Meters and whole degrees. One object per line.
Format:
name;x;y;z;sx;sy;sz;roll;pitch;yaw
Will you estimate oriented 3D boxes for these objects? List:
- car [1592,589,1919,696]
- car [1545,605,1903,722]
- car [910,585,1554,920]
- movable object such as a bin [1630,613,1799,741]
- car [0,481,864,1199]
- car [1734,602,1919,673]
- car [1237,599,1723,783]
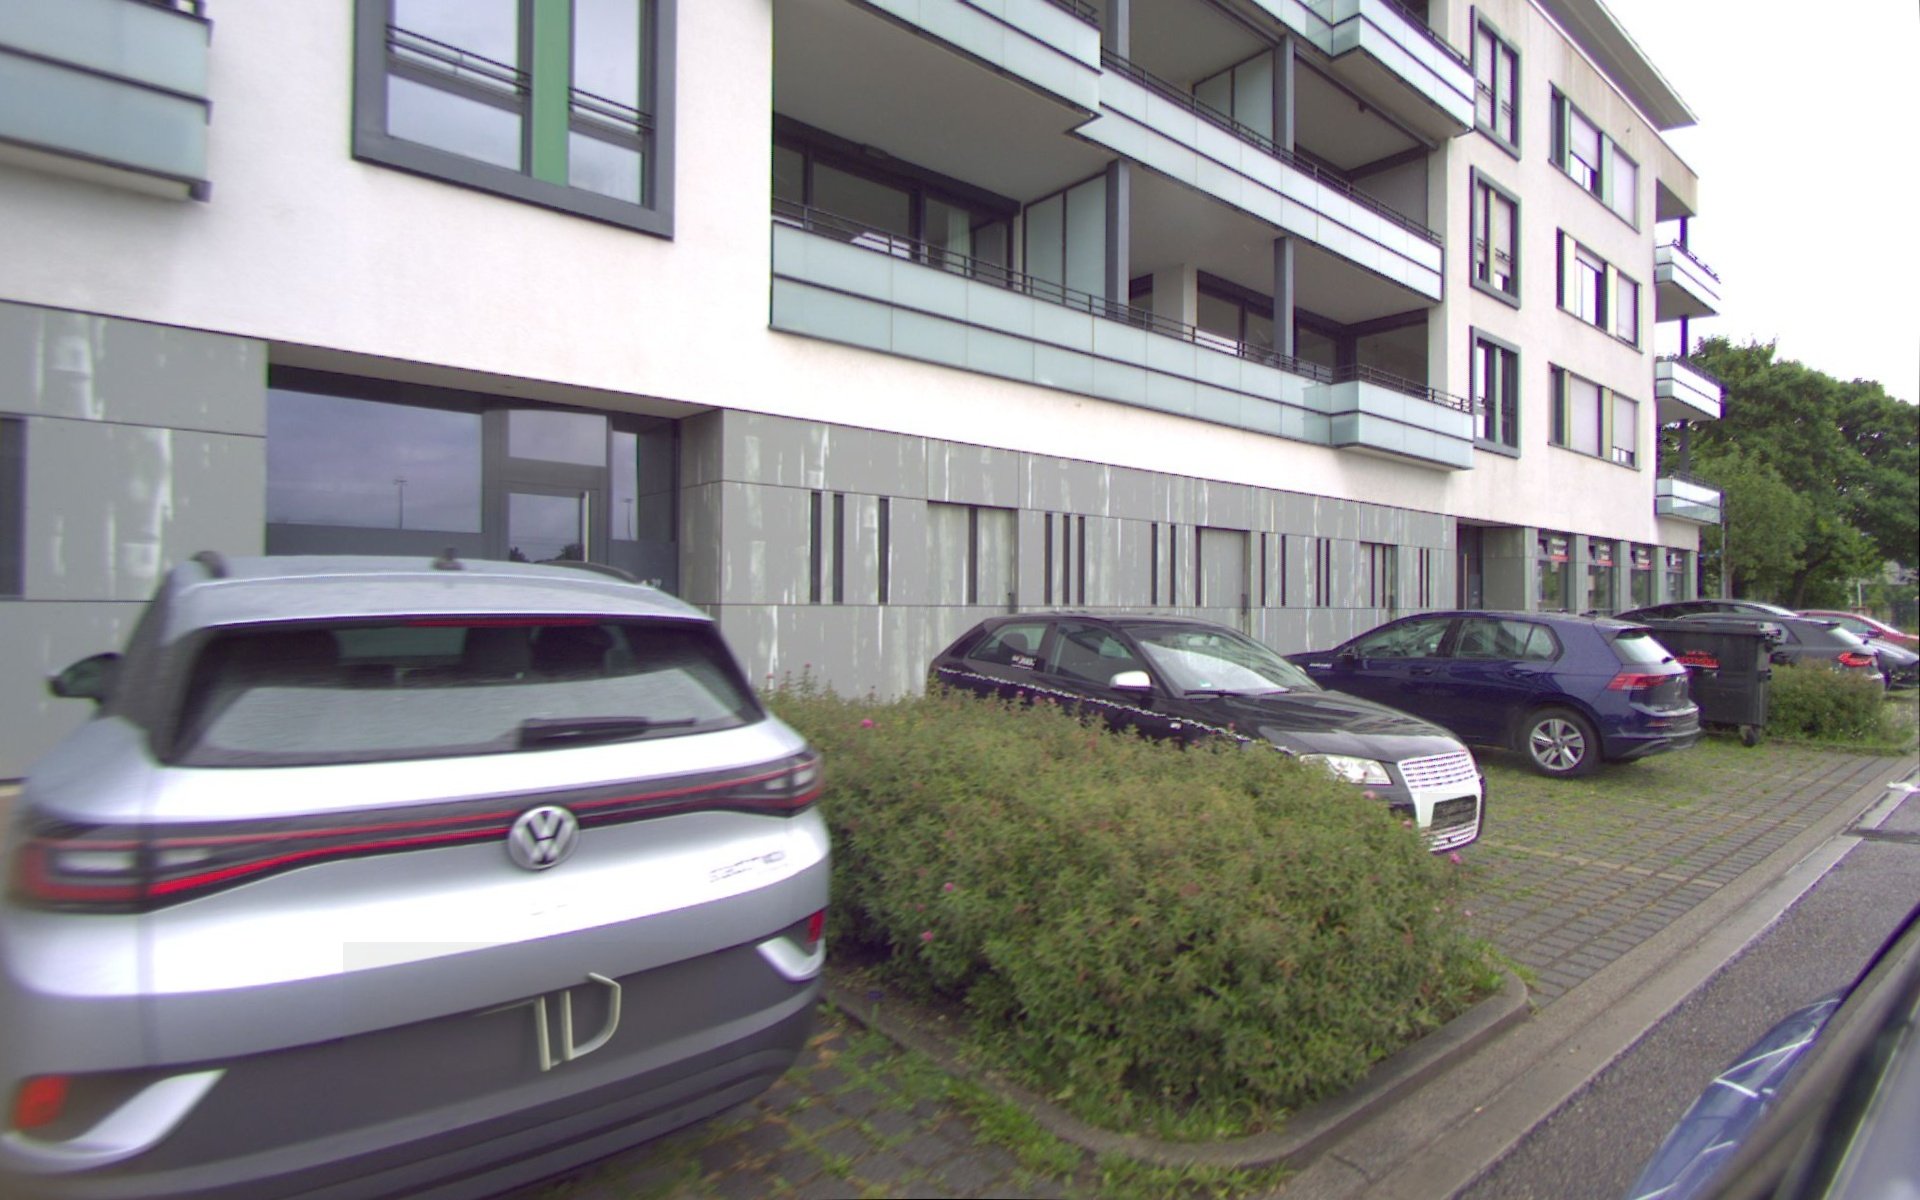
car;14.346;0.679;18.140;1.834;1.685;4.792;1;-1;-40
car;11.243;0.827;15.110;1.755;1.506;3.994;1;-1;-40
car;1.491;0.712;6.836;1.745;1.552;3.998;0;0;-37
movable object such as a bin;8.640;0.837;11.612;0.959;1.355;1.351;1;-2;-41
car;-2.376;0.546;3.956;2.043;1.621;4.434;0;1;-35
car;20.184;0.808;22.894;1.755;1.506;3.994;1;-1;-40
car;5.067;0.748;10.335;1.681;1.496;4.096;1;-1;-40
